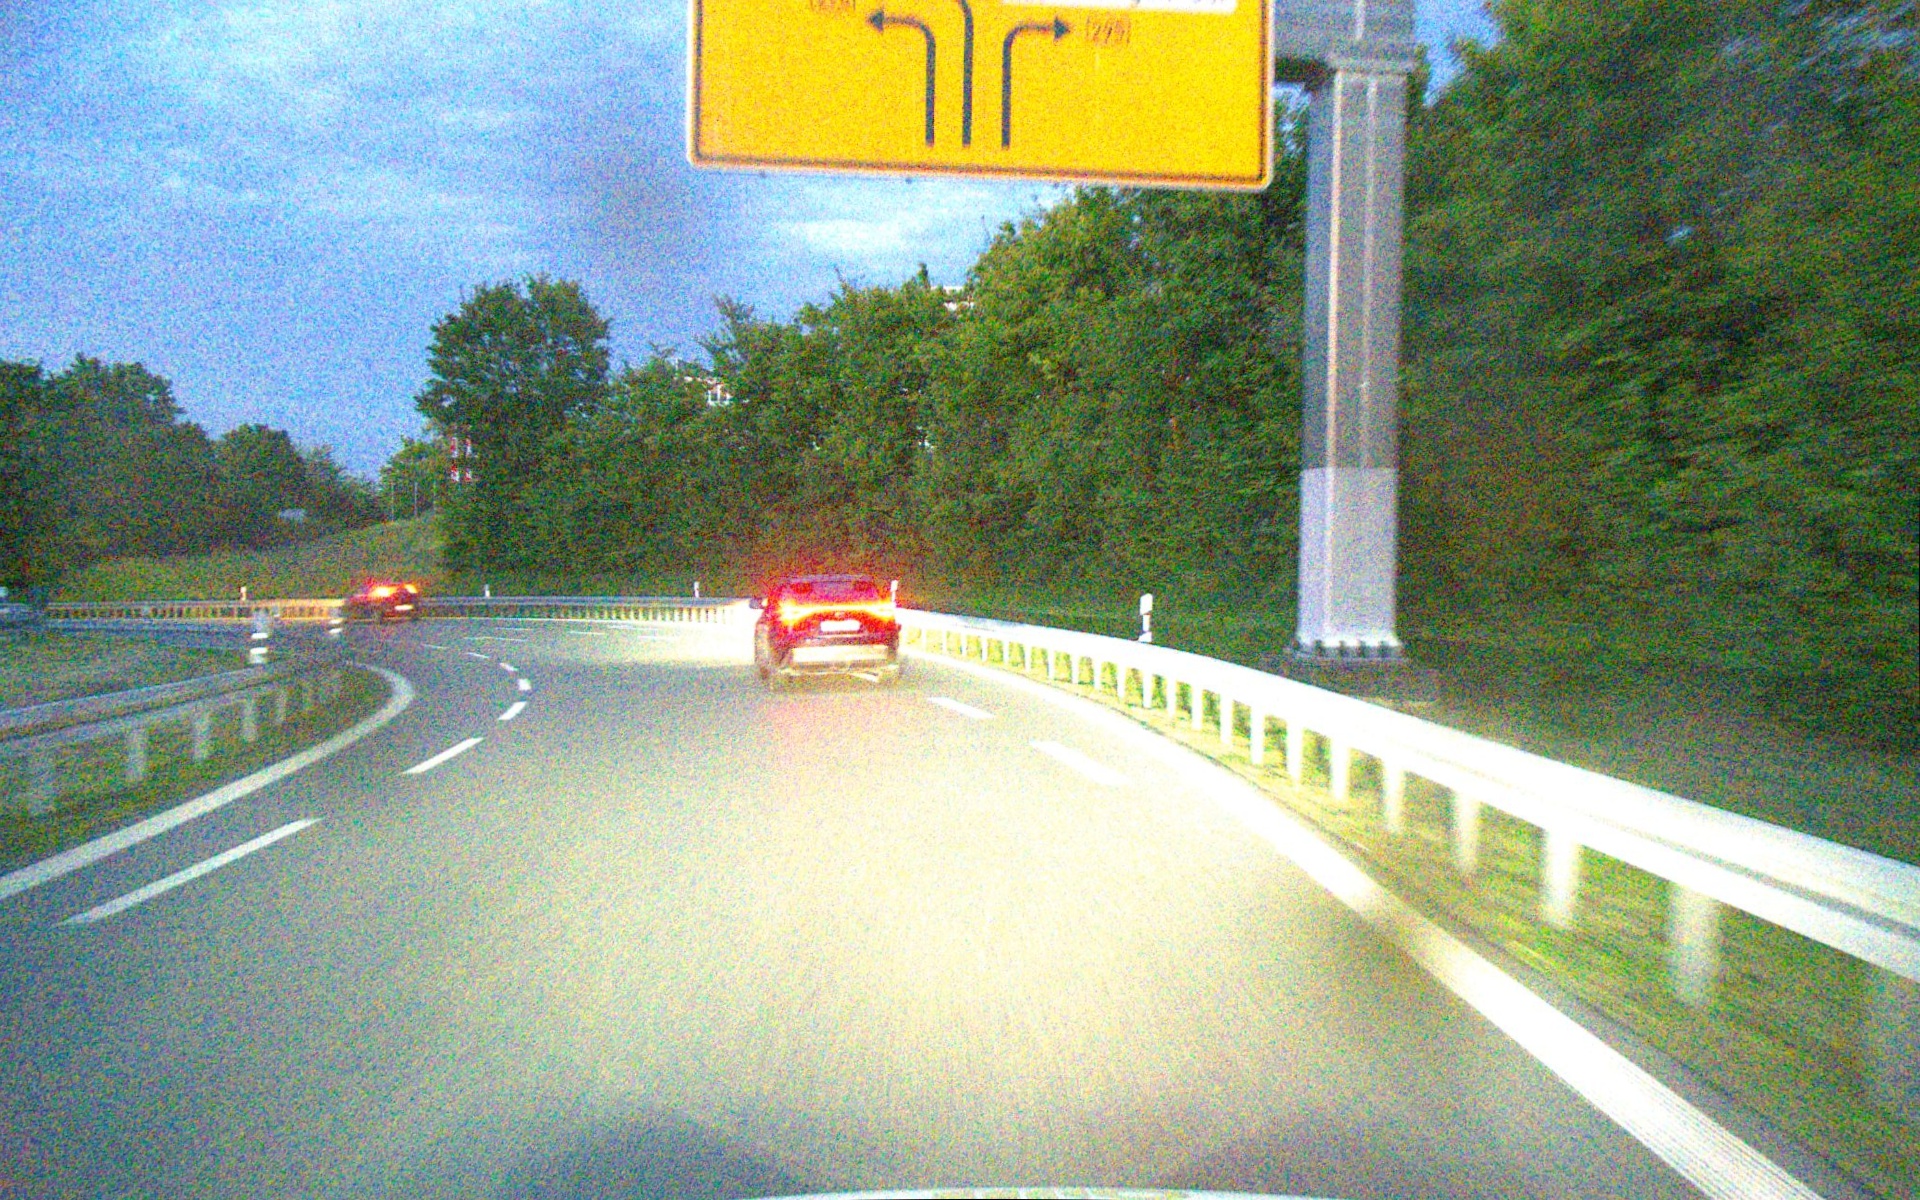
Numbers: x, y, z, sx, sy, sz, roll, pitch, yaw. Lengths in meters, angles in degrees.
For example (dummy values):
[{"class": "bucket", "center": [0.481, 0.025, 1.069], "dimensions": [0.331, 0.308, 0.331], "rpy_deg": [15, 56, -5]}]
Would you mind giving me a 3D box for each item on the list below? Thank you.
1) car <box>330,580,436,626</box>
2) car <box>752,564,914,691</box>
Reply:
[{"class": "car", "center": [-21.762, 0.098, 62.364], "dimensions": [3.924, 1.626, 1.991], "rpy_deg": [2, 1, 39]}, {"class": "car", "center": [-1.986, 0.335, 24.696], "dimensions": [1.957, 1.688, 4.304], "rpy_deg": [-1, 1, -10]}]
